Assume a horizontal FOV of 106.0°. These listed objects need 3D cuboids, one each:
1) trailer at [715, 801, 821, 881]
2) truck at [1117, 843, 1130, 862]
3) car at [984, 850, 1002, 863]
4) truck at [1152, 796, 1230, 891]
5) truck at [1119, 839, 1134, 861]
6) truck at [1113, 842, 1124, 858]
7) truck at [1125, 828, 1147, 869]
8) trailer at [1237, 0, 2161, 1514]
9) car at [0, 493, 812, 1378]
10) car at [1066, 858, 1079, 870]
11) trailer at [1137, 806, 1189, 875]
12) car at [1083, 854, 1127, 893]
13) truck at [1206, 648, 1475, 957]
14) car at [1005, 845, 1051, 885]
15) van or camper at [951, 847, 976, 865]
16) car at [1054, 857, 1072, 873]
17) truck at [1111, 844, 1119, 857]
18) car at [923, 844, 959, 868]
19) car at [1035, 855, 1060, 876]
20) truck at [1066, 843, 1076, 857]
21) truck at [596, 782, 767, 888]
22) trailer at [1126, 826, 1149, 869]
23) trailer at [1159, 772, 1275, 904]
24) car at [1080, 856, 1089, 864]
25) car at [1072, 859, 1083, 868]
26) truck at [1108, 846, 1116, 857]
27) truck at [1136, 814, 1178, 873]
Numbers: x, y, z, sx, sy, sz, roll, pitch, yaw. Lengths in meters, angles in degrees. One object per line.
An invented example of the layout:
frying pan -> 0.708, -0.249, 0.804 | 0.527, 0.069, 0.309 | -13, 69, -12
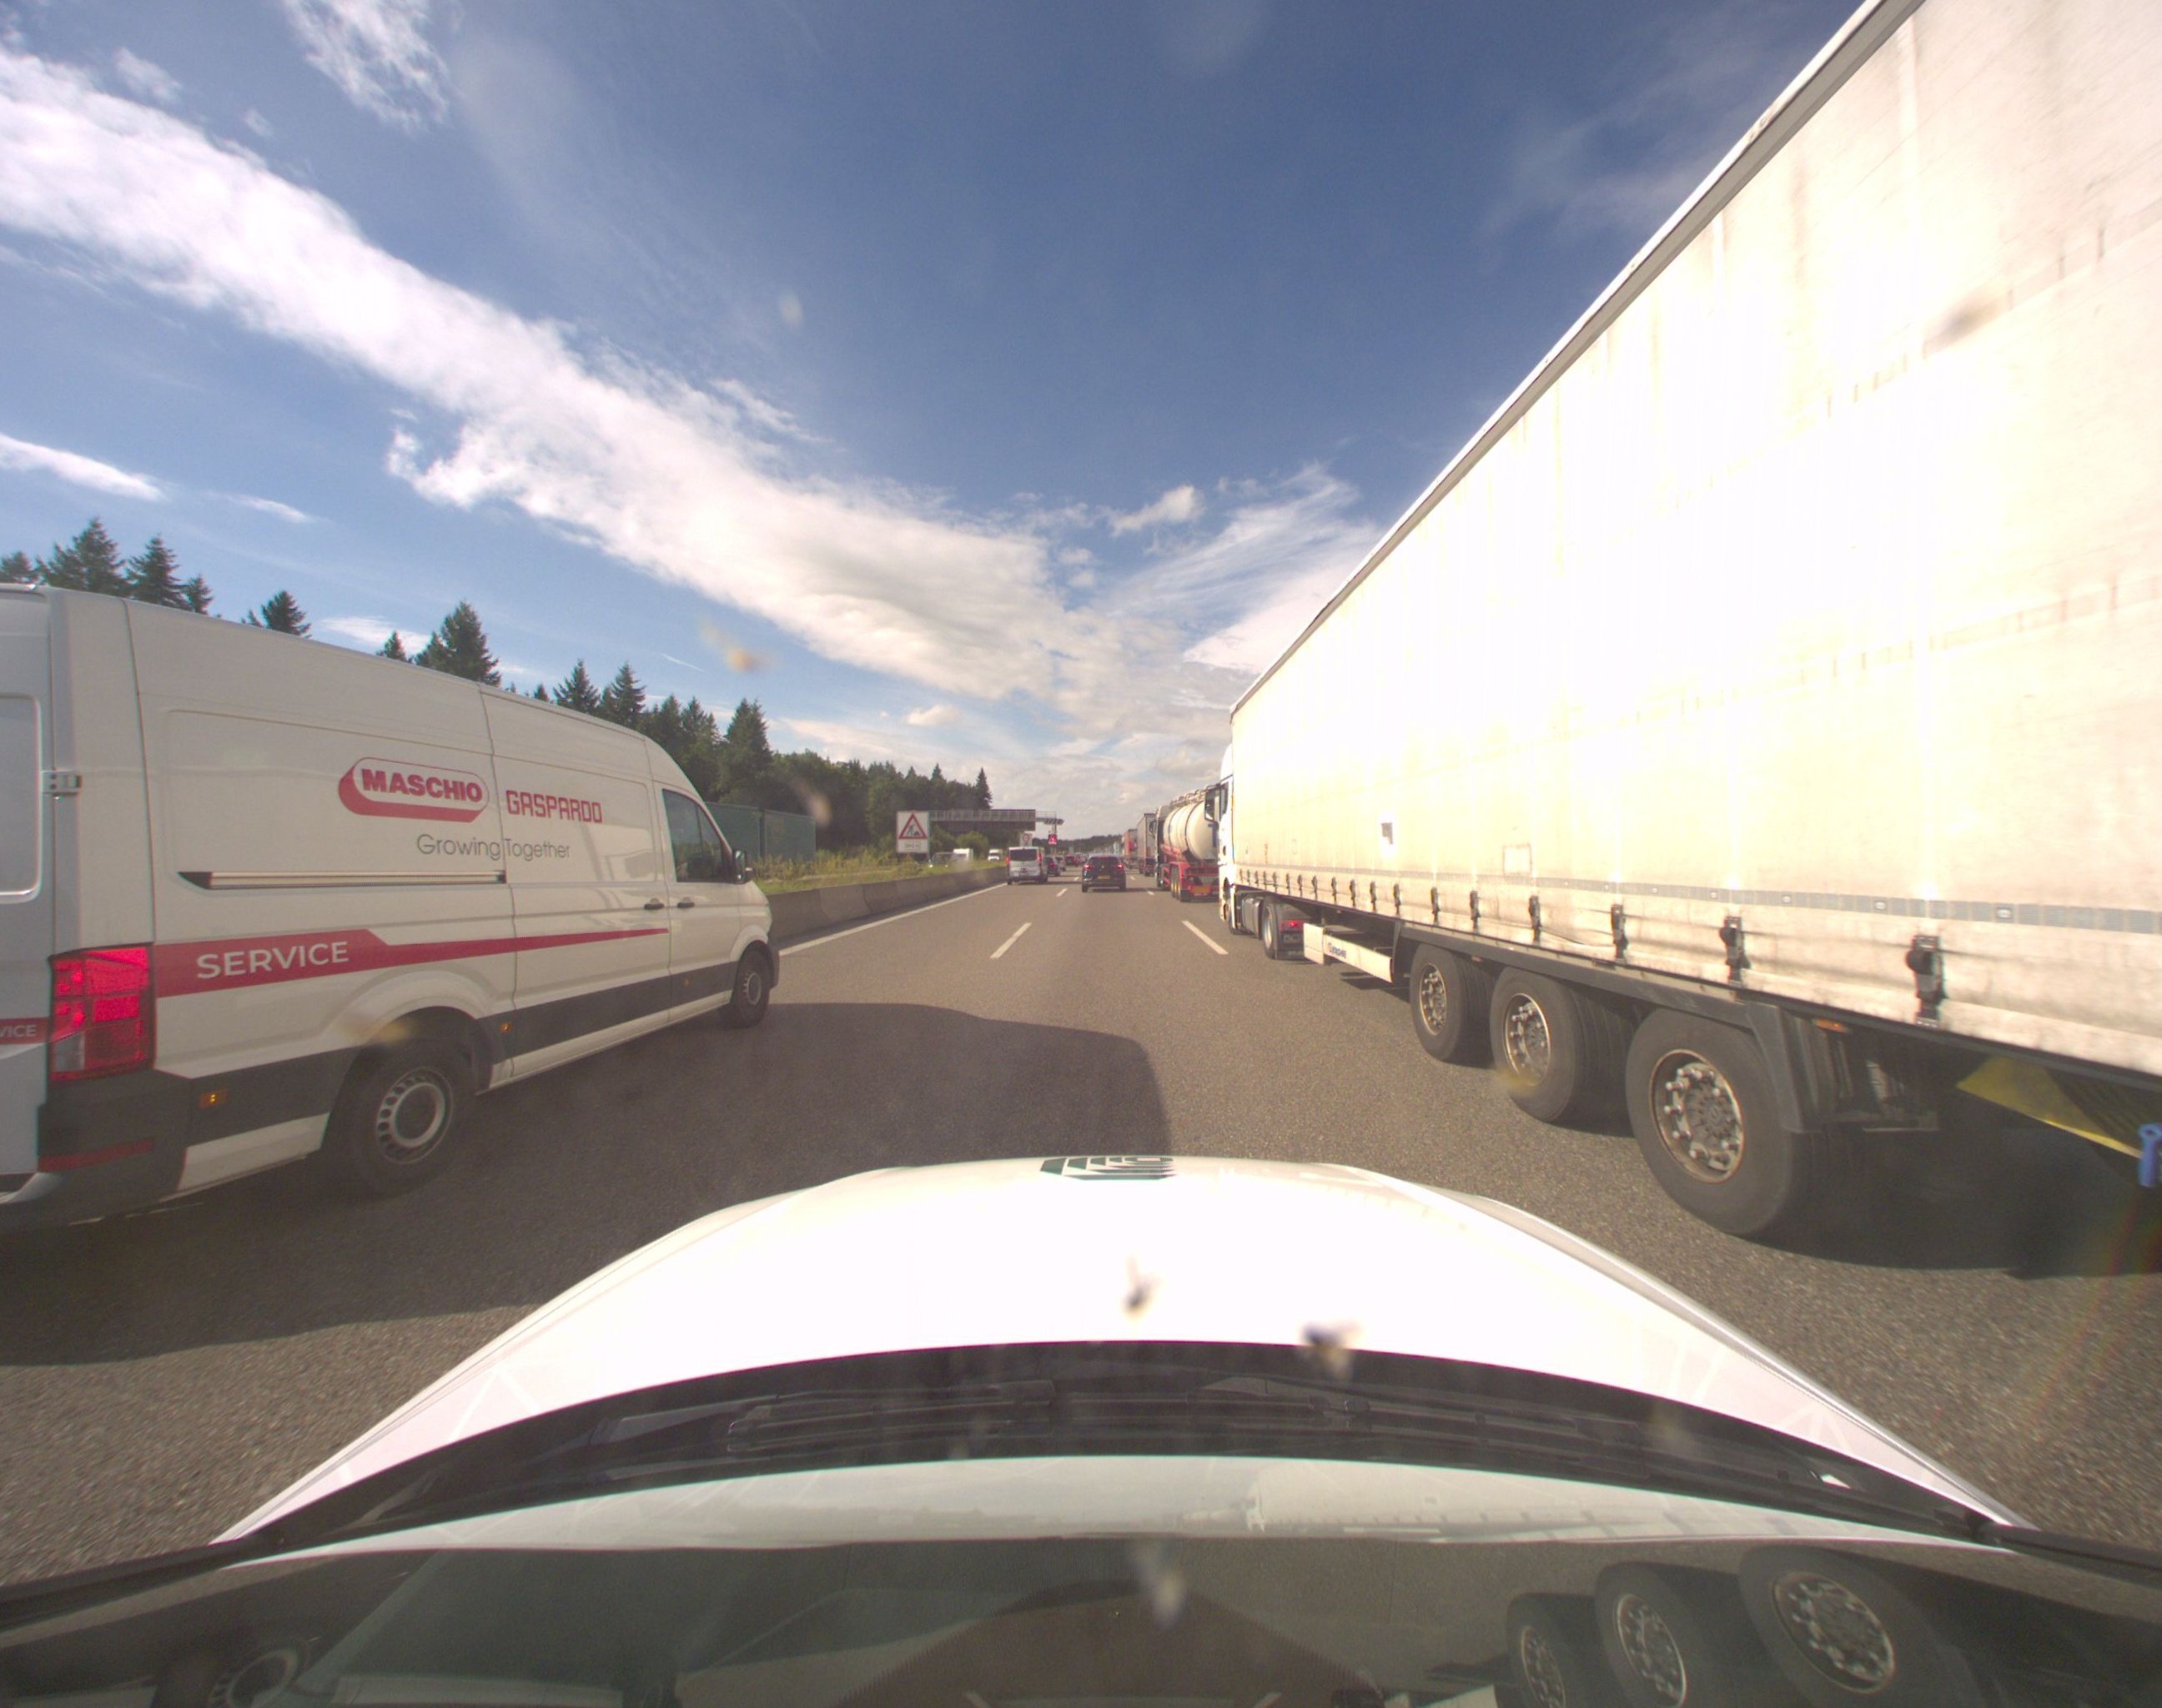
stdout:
trailer -> -18.009, -0.671, 47.587 | 2.716, 4.244, 8.553 | -1, 0, 1
truck -> 6.965, -0.212, 133.151 | 1.986, 2.932, 4.984 | 2, 0, 2
car -> -15.742, 0.508, 146.311 | 2.308, 2.193, 6.864 | 2, 0, 1
truck -> 4.495, -0.383, 34.412 | 2.524, 3.584, 6.731 | -1, 0, 2
truck -> 6.404, -0.535, 114.570 | 1.986, 2.932, 4.984 | 2, 0, 2
truck -> 7.332, -0.801, 158.745 | 1.986, 3.052, 4.984 | 2, 0, 2
truck -> 5.893, -0.582, 87.880 | 2.125, 4.282, 6.341 | 0, -1, 2
trailer -> 3.720, -0.687, 6.687 | 2.693, 4.082, 12.949 | -1, 0, 2
car -> -4.015, 0.229, 5.470 | 2.007, 2.599, 6.187 | -1, 0, 3
car -> -1.023, 1.247, 101.590 | 1.429, 1.310, 3.534 | 2, 0, 1
trailer -> 5.455, -0.792, 55.846 | 2.791, 4.244, 11.062 | -1, -1, 2
car -> 0.998, 0.751, 33.863 | 1.690, 1.483, 4.161 | 0, 0, 1
truck -> 3.940, -0.663, 14.030 | 2.698, 4.060, 6.364 | -1, -1, 2
car -> -2.786, 0.593, 44.049 | 1.926, 1.979, 5.100 | 2, 0, 1
van or camper -> -16.135, 0.249, 112.318 | 2.450, 2.414, 5.853 | -1, 0, 1
car -> -1.711, 1.059, 76.990 | 1.494, 1.396, 3.477 | 2, 0, 1
truck -> 8.452, -0.766, 203.278 | 1.986, 3.052, 4.984 | 2, 0, 2
car -> -9.980, 0.177, 58.319 | 1.663, 1.582, 4.001 | 2, 0, 1
car -> -2.333, 0.783, 57.040 | 1.494, 1.396, 3.477 | 1, 0, 1
truck -> -2.599, -1.021, 220.407 | 2.335, 3.594, 6.307 | 2, 0, 2
truck -> -18.155, -0.738, 38.123 | 2.702, 4.244, 10.345 | -1, 0, 1
trailer -> 5.738, -0.609, 83.858 | 2.141, 4.259, 8.444 | -1, -1, 2
trailer -> 4.314, -0.421, 28.072 | 2.531, 3.654, 10.631 | -1, 0, 2
car -> 0.659, 1.030, 141.094 | 1.356, 1.301, 3.085 | 2, 0, 1
car -> -0.514, 1.350, 115.904 | 1.429, 1.310, 3.534 | 2, 0, 1
truck -> 8.821, -0.690, 230.503 | 1.986, 3.052, 4.984 | 2, 0, 2
truck -> 5.741, -0.746, 62.250 | 2.775, 4.247, 6.463 | -1, -1, 2
